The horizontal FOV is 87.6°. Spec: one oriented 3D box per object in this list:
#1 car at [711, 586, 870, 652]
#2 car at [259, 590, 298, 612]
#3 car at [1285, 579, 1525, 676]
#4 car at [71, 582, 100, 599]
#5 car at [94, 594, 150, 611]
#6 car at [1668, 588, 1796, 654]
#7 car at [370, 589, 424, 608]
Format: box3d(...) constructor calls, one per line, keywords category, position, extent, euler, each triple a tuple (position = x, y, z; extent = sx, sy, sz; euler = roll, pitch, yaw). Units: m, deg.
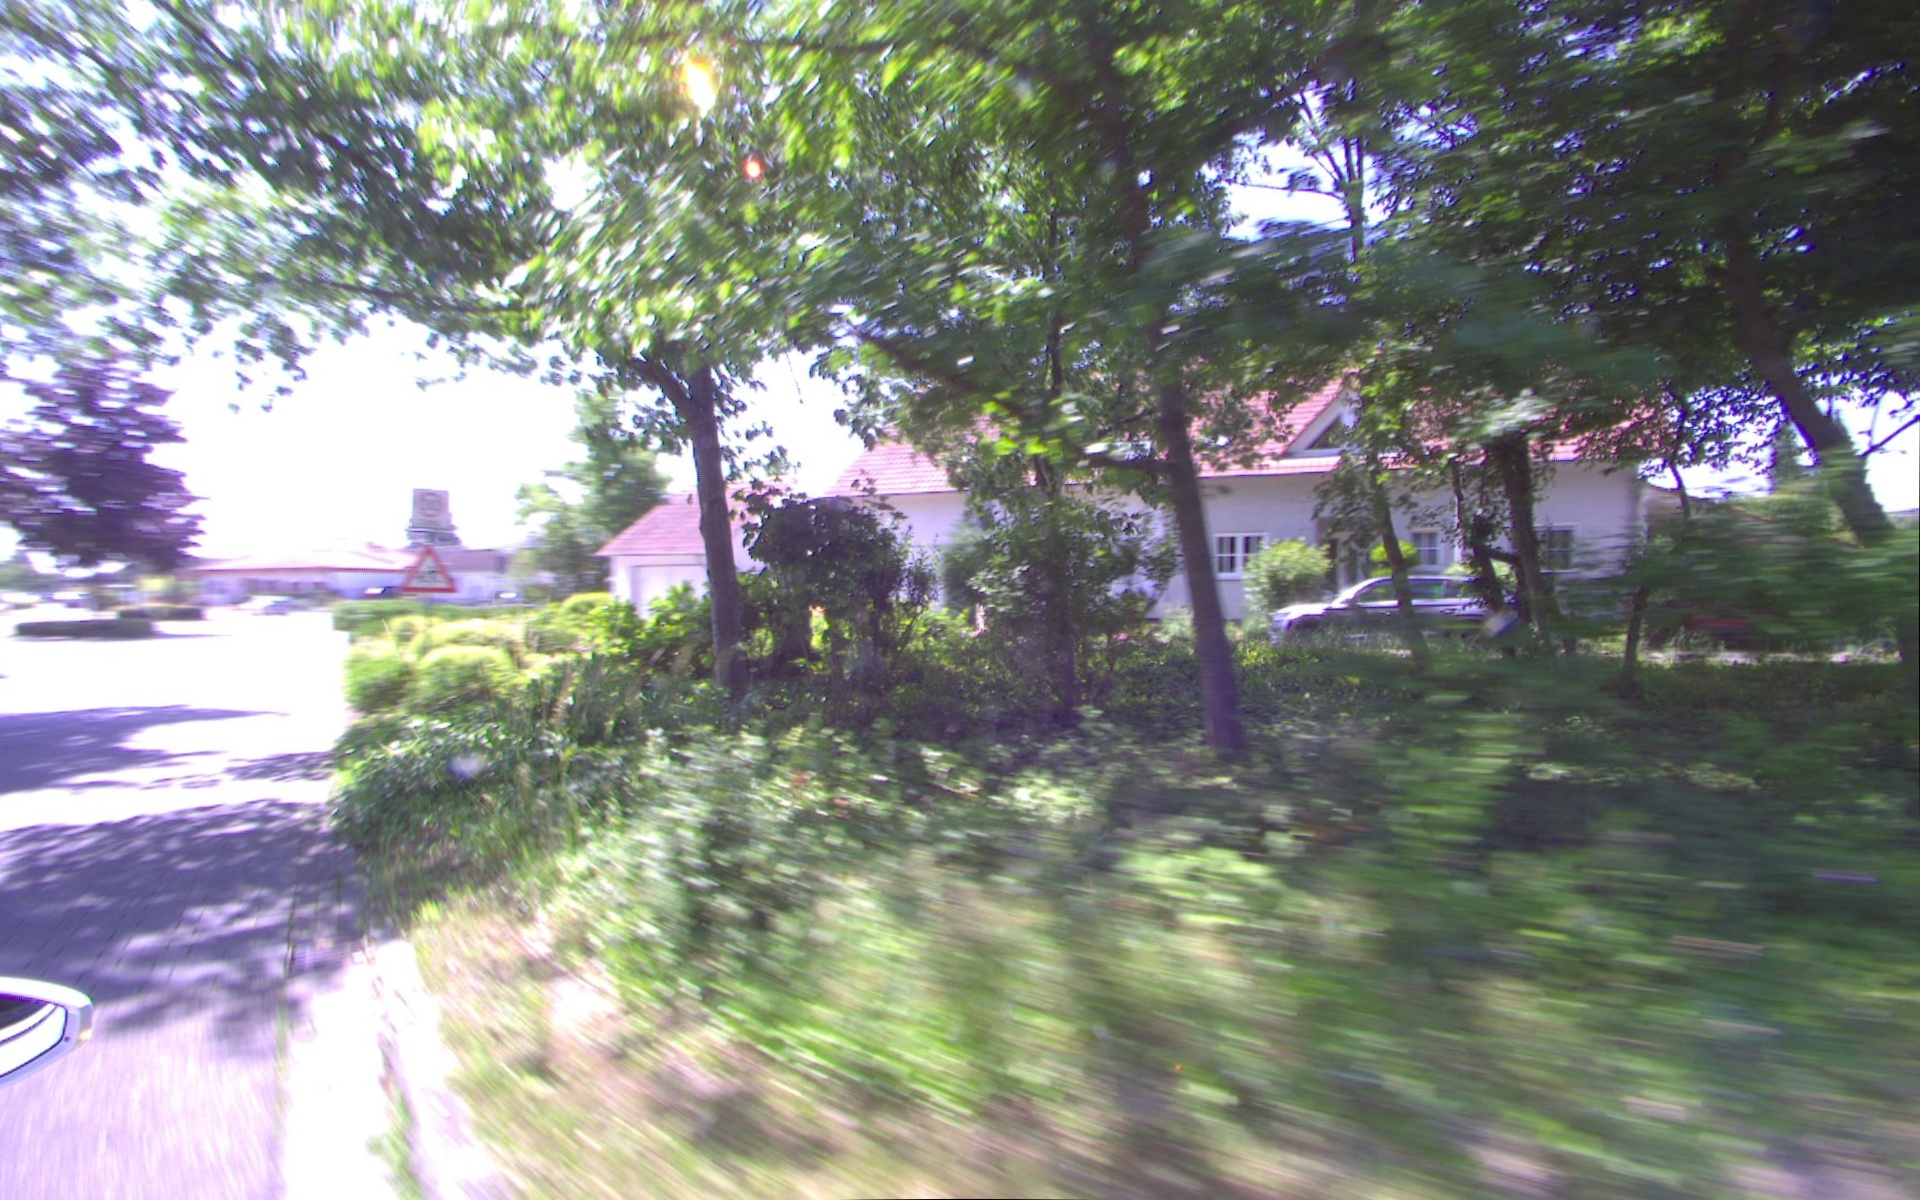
box3d(category="car", position=(-4.492, 0.460, 26.425), extent=(3.964, 1.623, 1.659), euler=(0, 1, 28))
box3d(category="car", position=(-40.837, 0.048, 59.988), extent=(1.601, 1.305, 3.526), euler=(0, 0, -40))
box3d(category="car", position=(8.509, 0.488, 19.412), extent=(4.074, 1.728, 1.661), euler=(0, 1, 24))
box3d(category="car", position=(-70.741, -0.776, 81.024), extent=(1.601, 1.305, 3.528), euler=(0, 0, -38))
box3d(category="car", position=(-66.263, 0.173, 79.176), extent=(3.936, 1.305, 1.992), euler=(0, 0, 27))
box3d(category="car", position=(17.816, 0.428, 23.277), extent=(1.658, 1.404, 3.679), euler=(0, 1, 27))
box3d(category="car", position=(-46.863, -0.124, 83.448), extent=(1.820, 1.563, 3.832), euler=(0, 0, 14))
